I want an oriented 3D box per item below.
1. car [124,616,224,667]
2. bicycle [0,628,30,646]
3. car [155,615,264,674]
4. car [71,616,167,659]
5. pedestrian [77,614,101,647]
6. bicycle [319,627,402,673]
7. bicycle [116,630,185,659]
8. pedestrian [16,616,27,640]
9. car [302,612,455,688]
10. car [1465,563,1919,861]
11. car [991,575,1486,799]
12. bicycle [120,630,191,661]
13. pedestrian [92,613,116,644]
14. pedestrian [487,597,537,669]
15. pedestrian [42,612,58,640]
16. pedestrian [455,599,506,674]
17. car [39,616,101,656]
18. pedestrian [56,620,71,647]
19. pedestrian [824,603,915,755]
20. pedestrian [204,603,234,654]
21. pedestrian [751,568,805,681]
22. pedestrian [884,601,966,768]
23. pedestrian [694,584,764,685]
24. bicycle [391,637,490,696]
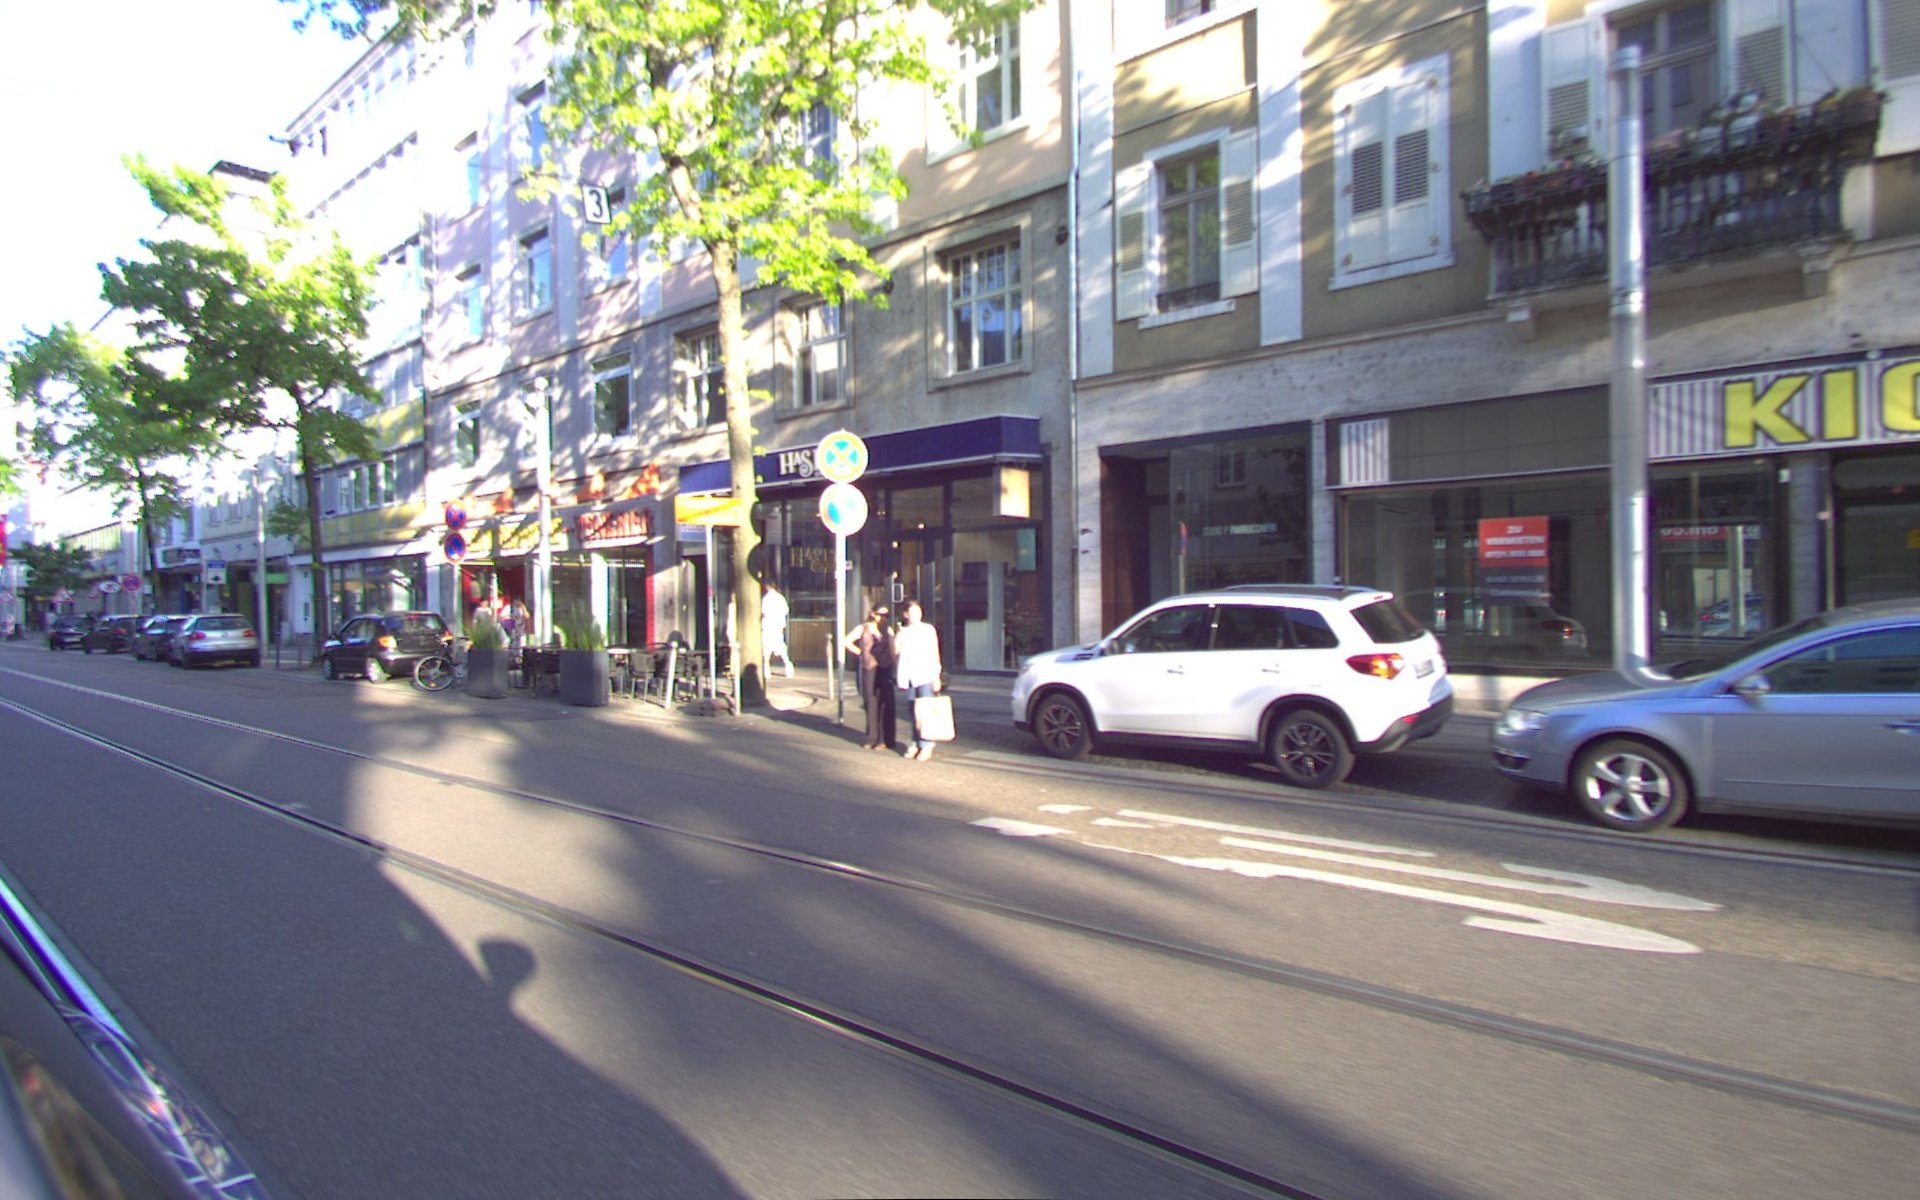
[{"bbox_3d":[-25.756,1.325,33.111,4.483,1.472,1.694,-1,1,41],"label":"car"},{"bbox_3d":[-58.105,2.271,61.913,1.724,0.999,0.479,-5,2,-43],"label":"bicycle"},{"bbox_3d":[-21.277,1.198,28.627,4.175,1.508,1.748,-1,0,43],"label":"car"},{"bbox_3d":[-33.028,1.451,39.720,4.232,1.501,1.777,-1,1,35],"label":"car"},{"bbox_3d":[-47.181,1.644,54.816,0.831,1.779,0.842,-2,-1,38],"label":"pedestrian"},{"bbox_3d":[-15.243,1.256,25.774,0.439,1.073,1.796,-1,0,32],"label":"bicycle"},{"bbox_3d":[-29.596,1.619,37.018,0.330,1.009,1.949,-1,-1,43],"label":"bicycle"},{"bbox_3d":[-80.222,2.363,86.525,0.592,2.029,0.608,-2,-1,39],"label":"pedestrian"},{"bbox_3d":[-12.814,1.053,22.244,3.824,1.439,1.649,-1,2,40],"label":"car"},{"bbox_3d":[5.938,0.603,6.279,4.699,1.591,1.818,-1,3,41],"label":"car"},{"bbox_3d":[2.488,0.672,9.598,4.114,1.591,1.818,-1,3,41],"label":"car"},{"bbox_3d":[-28.427,1.606,35.778,0.330,1.009,1.949,-1,-1,43],"label":"bicycle"},{"bbox_3d":[-49.551,1.638,58.587,1.037,1.708,0.824,-2,2,40],"label":"pedestrian"},{"bbox_3d":[-10.866,0.782,24.567,0.913,1.706,0.781,-1,-1,40],"label":"pedestrian"},{"bbox_3d":[-57.423,1.666,63.868,0.829,1.725,0.634,-2,0,44],"label":"pedestrian"},{"bbox_3d":[-11.166,0.828,23.552,0.740,1.706,0.835,-1,-1,39],"label":"pedestrian"},{"bbox_3d":[-39.384,1.562,44.850,1.608,1.628,3.717,-3,1,-35],"label":"car"},{"bbox_3d":[-57.765,2.165,65.207,0.808,1.725,0.620,-2,0,44],"label":"pedestrian"},{"bbox_3d":[-0.951,0.788,10.604,0.729,1.521,0.613,0,0,41],"label":"pedestrian"},{"bbox_3d":[-27.678,1.061,37.799,0.878,1.839,0.653,-2,2,41],"label":"pedestrian"},{"bbox_3d":[-3.330,0.438,18.551,0.642,2.029,0.714,-1,-1,40],"label":"pedestrian"},{"bbox_3d":[-0.345,0.804,10.022,0.633,1.581,0.515,0,0,41],"label":"pedestrian"},{"bbox_3d":[-4.193,0.610,18.376,1.089,1.773,0.714,-1,-1,41],"label":"pedestrian"},{"bbox_3d":[-9.903,1.254,19.317,1.597,0.972,0.433,-3,1,-45],"label":"bicycle"}]
